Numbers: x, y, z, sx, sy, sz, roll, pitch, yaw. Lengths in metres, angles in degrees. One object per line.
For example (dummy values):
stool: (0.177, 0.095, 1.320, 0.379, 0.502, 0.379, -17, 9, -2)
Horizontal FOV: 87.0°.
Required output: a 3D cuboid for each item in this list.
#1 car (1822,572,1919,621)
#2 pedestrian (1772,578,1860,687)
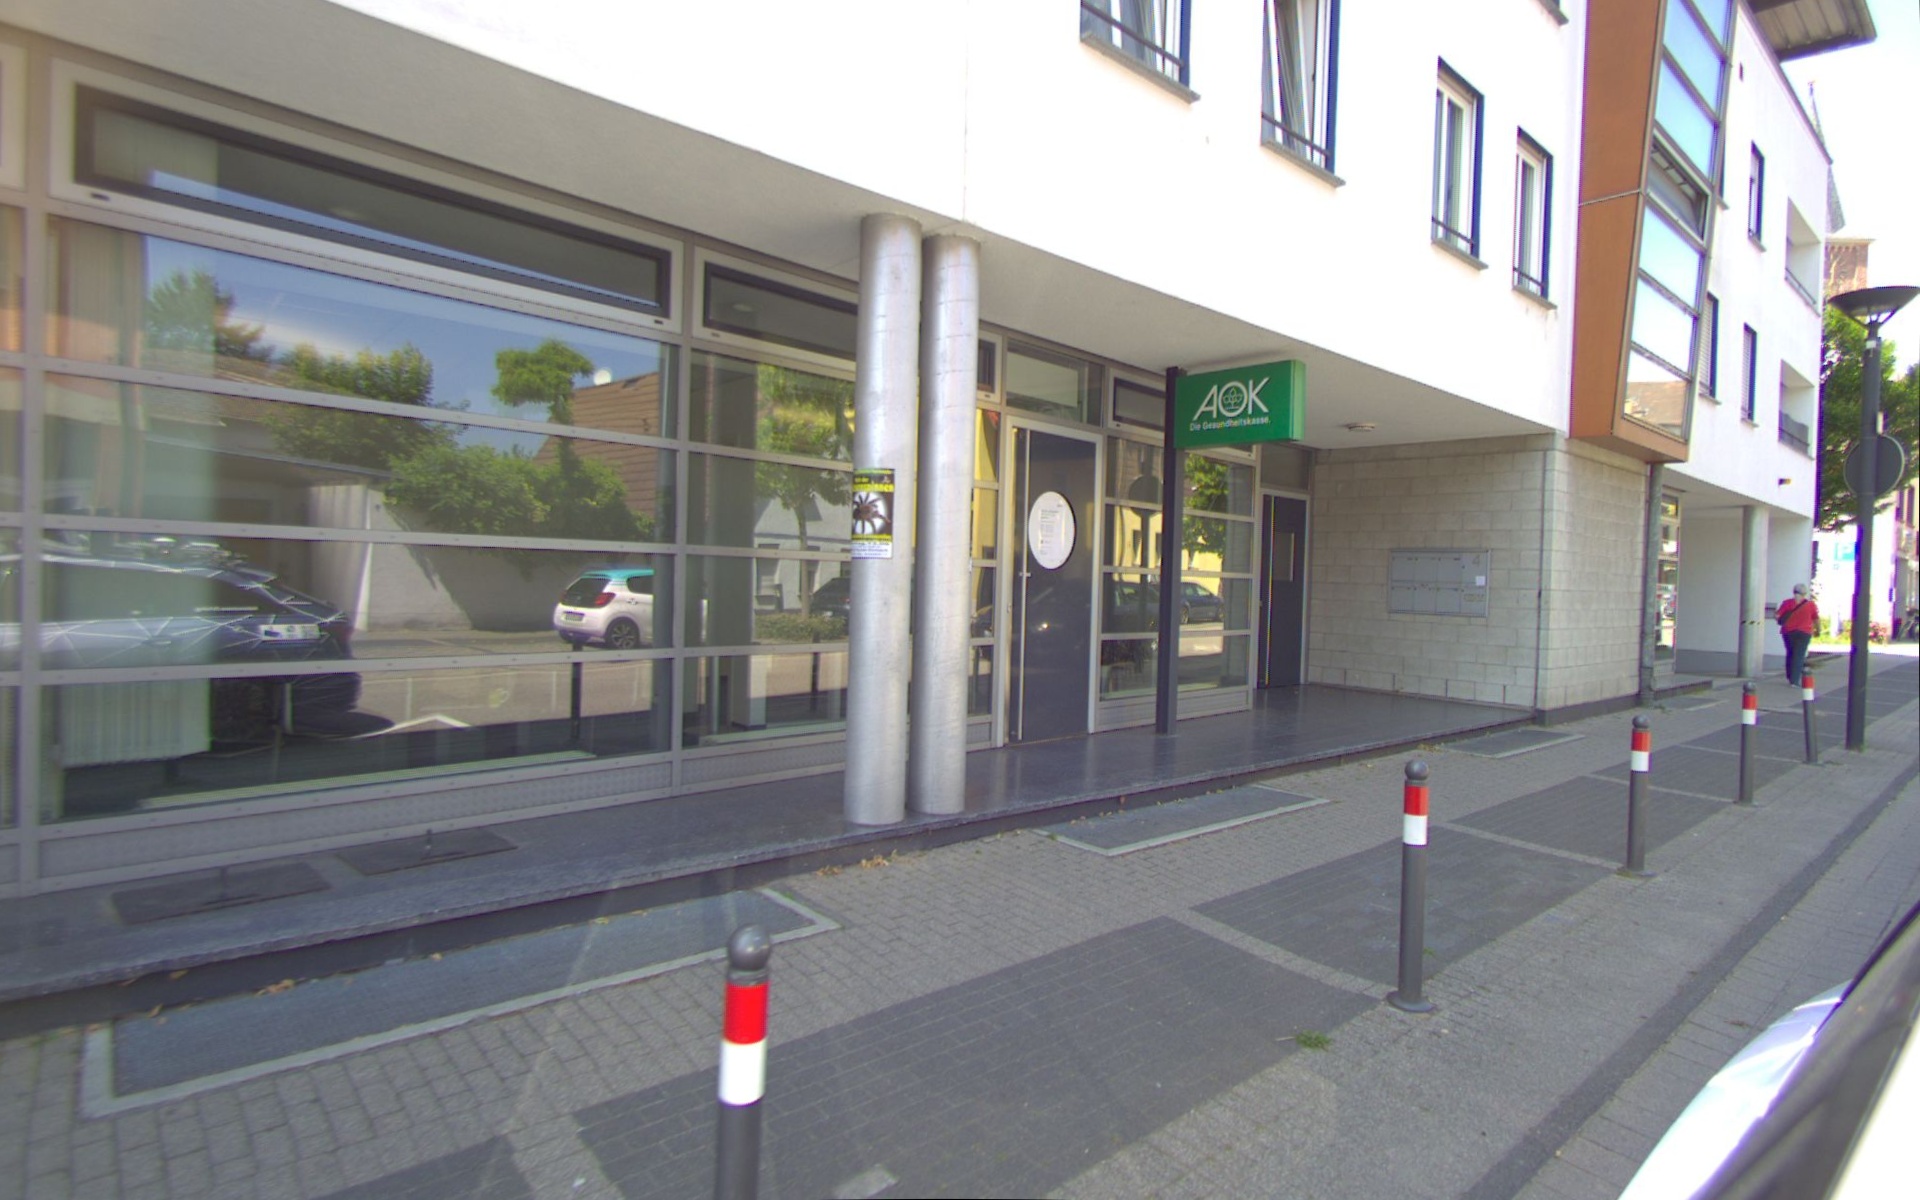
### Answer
car: (38.248, -0.147, 41.469, 1.965, 1.882, 4.201, 0, 3, -41)
pedestrian: (13.547, 0.491, 16.017, 0.903, 1.607, 0.826, 0, 4, -41)
